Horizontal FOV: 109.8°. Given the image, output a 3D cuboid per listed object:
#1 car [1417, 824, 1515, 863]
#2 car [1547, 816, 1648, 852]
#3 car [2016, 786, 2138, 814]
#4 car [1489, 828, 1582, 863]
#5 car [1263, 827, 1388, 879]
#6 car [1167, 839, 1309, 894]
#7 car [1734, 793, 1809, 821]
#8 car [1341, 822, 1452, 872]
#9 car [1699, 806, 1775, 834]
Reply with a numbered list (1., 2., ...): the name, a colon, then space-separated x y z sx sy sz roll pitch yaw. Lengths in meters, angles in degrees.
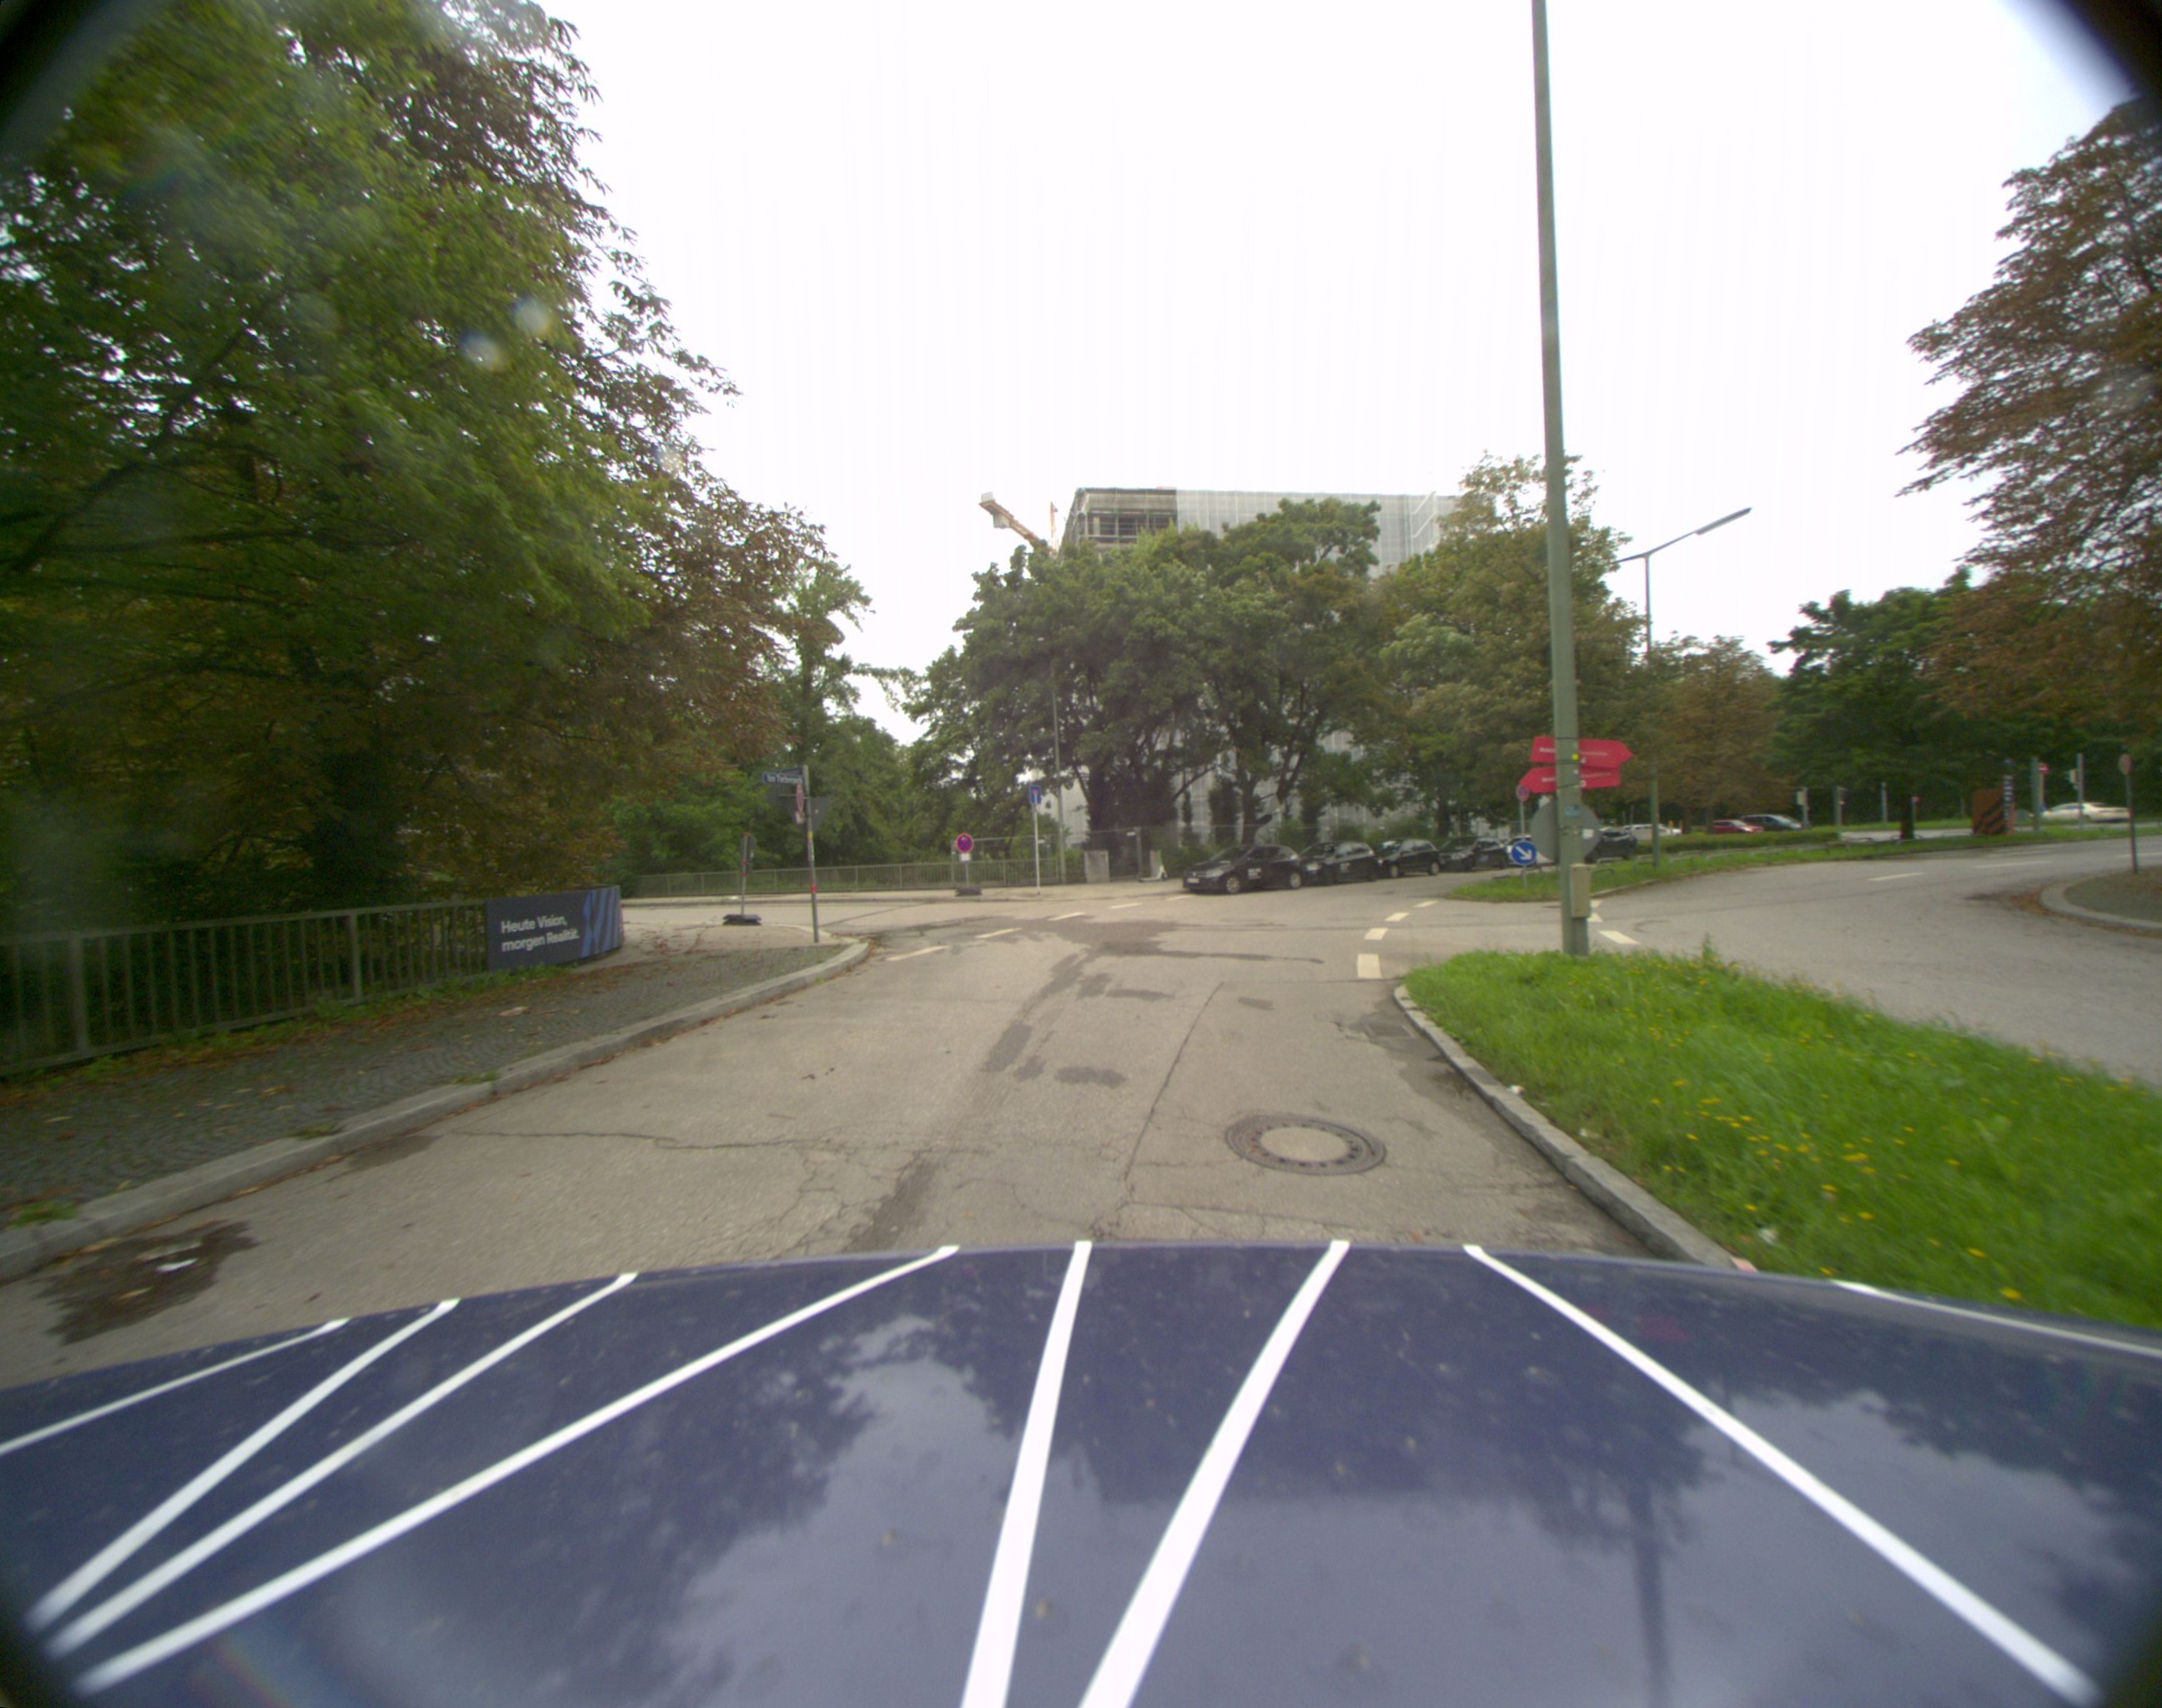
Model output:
1. car: 15.912 -0.451 31.354 4.012 1.452 1.836 -3 1 -34
2. car: 24.420 -0.947 35.919 4.401 1.596 1.888 -1 0 -23
3. car: 66.141 -3.553 50.597 1.892 1.536 4.853 -2 1 3
4. car: 20.388 -0.395 34.041 4.225 1.375 1.798 -3 0 -32
5. car: 8.304 -0.054 25.713 4.007 1.532 1.995 -3 1 -36
6. car: 4.836 0.305 23.241 4.049 1.425 1.994 -3 3 -34
7. car: 55.292 -3.746 60.957 2.001 2.002 3.994 -3 1 -15
8. car: 11.928 -0.297 28.680 4.006 1.696 1.994 -3 3 -34
9. car: 52.576 -2.718 60.995 2.001 2.002 4.151 -3 1 -15
